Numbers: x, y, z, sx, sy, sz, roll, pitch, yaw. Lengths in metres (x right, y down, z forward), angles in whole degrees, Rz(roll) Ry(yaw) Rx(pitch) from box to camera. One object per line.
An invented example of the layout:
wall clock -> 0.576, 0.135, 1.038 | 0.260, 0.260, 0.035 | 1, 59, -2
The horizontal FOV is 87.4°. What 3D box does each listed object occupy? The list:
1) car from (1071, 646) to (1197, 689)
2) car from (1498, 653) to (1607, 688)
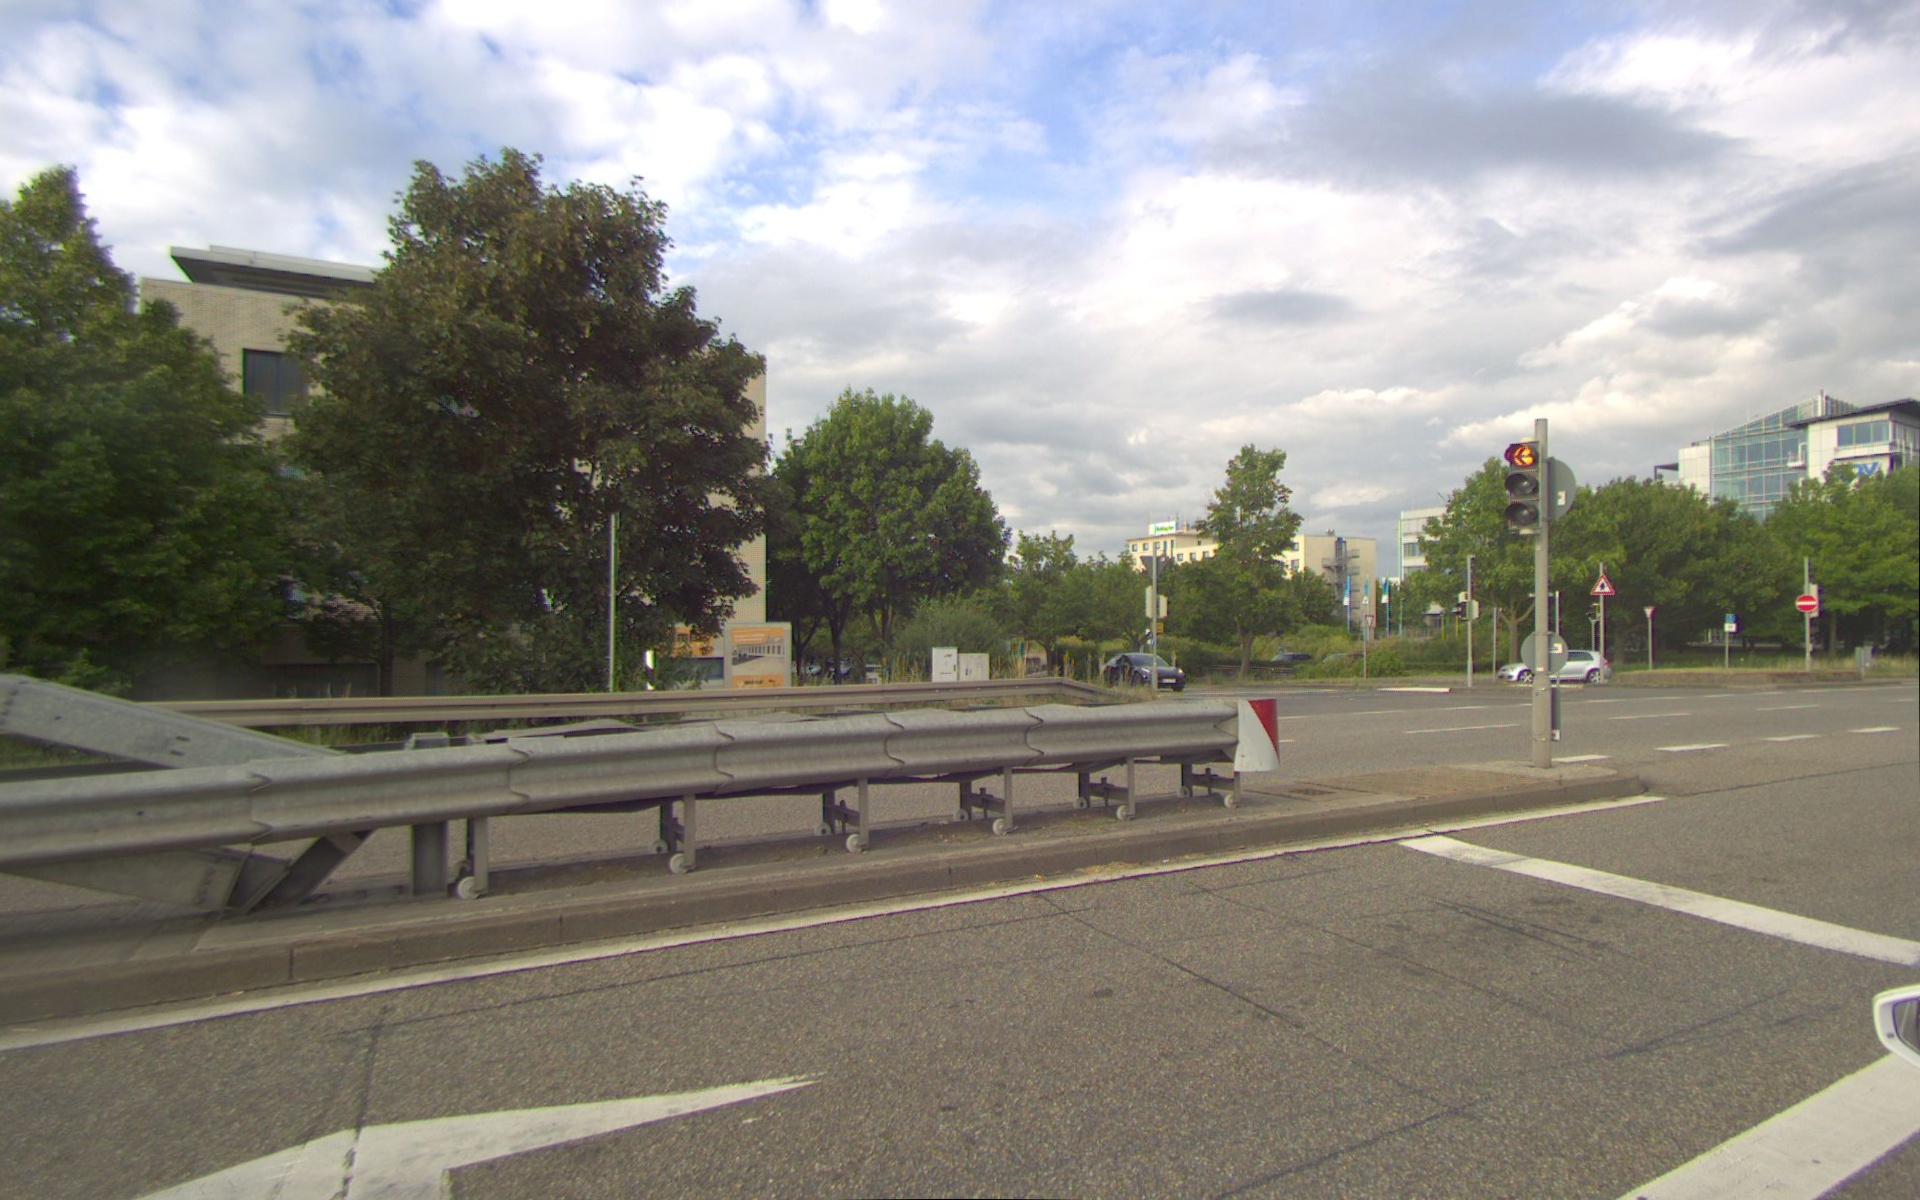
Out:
car -> 6.475, 2.515, 37.676 | 4.313, 1.475, 1.911 | -2, -5, 44
car -> 25.217, 3.021, 42.860 | 3.676, 1.359, 1.587 | -3, -4, 18
